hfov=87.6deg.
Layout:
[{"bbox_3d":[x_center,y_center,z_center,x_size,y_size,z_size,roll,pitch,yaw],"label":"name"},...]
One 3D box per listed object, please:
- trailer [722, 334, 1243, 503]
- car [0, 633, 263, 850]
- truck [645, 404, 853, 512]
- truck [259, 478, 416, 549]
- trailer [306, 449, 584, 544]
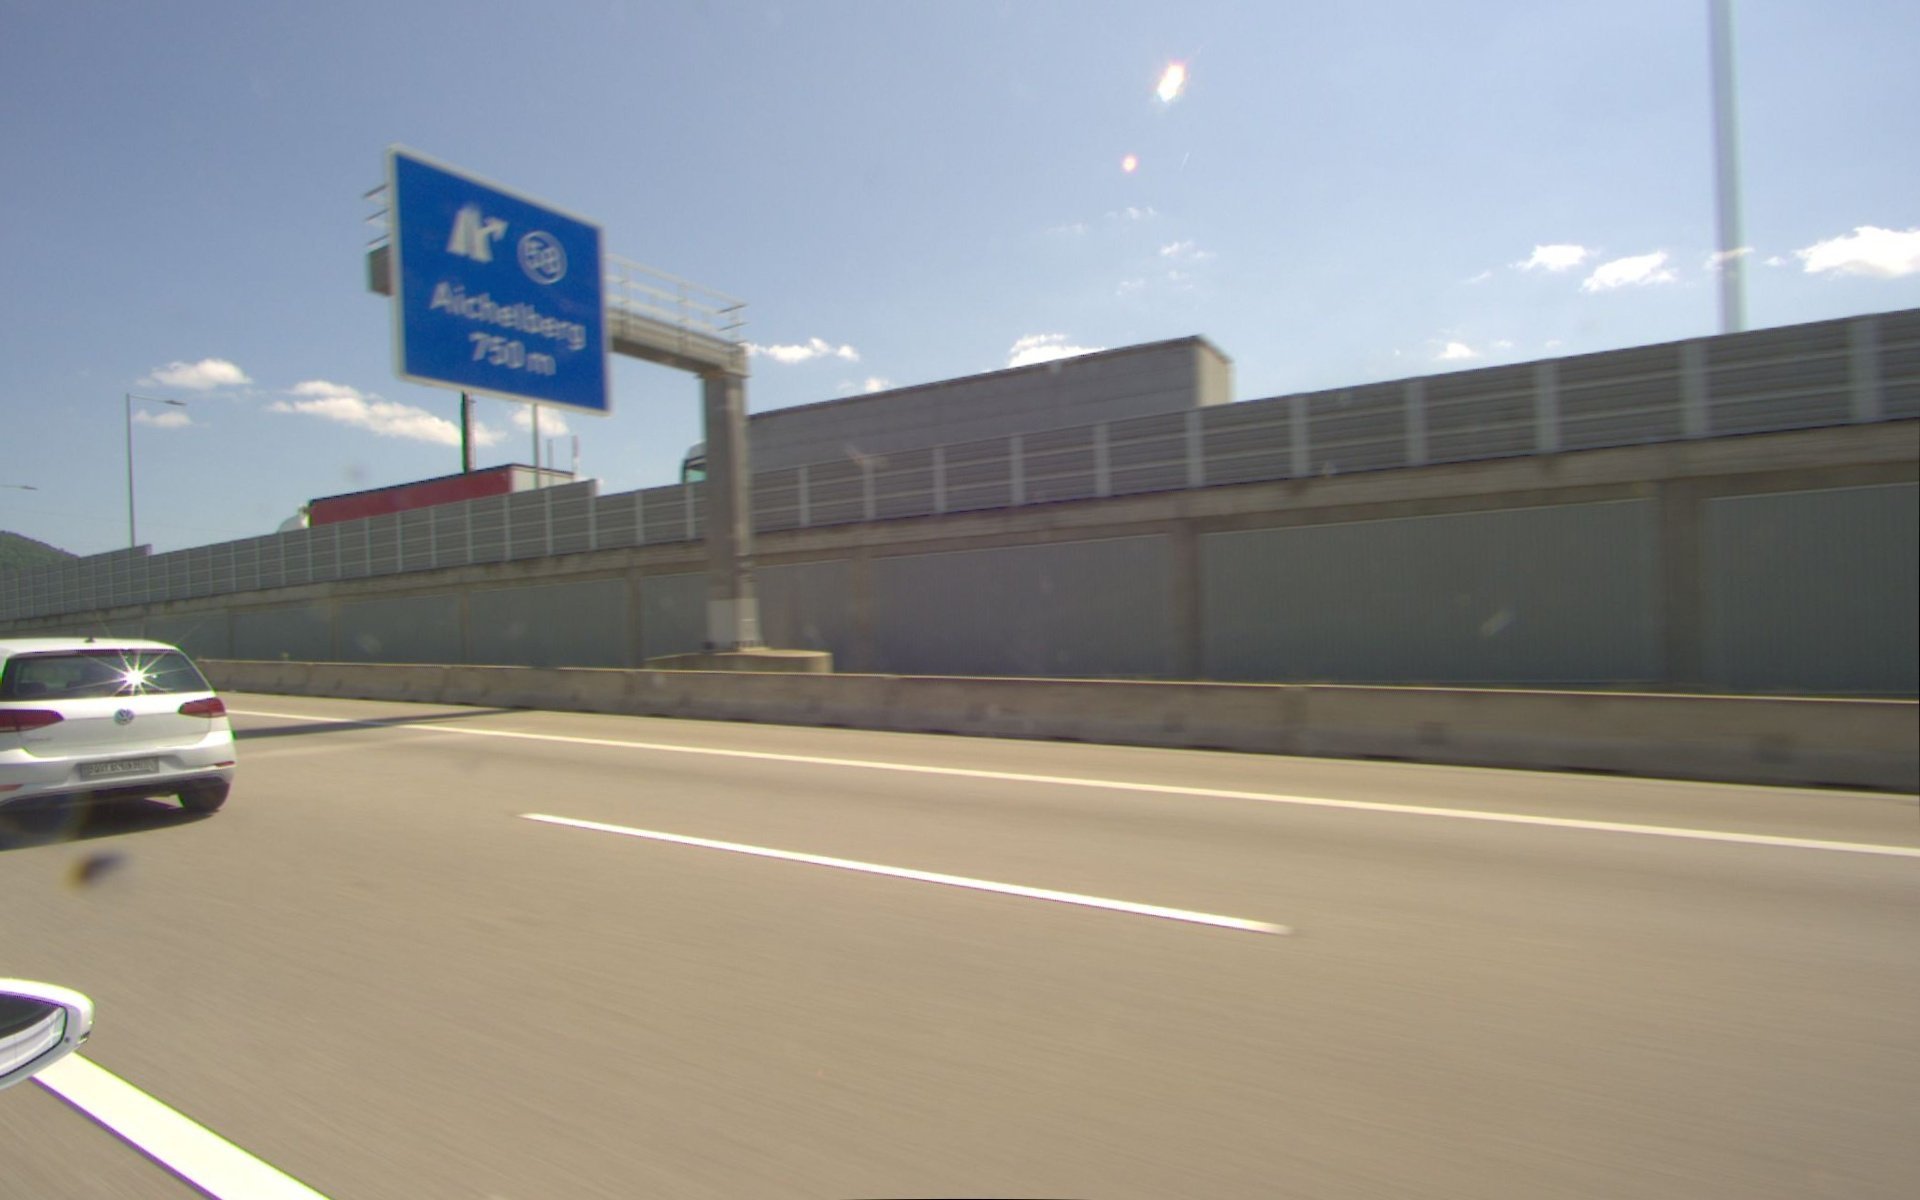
[{"bbox_3d":[-0.077,-4.373,26.399,14.317,2.252,2.716,-2,-2,31],"label":"trailer"},{"bbox_3d":[-8.039,1.035,8.561,4.625,1.451,1.773,-2,-2,32],"label":"car"},{"bbox_3d":[-6.417,-4.142,30.237,5.949,2.258,2.720,-2,-2,31],"label":"truck"},{"bbox_3d":[-26.450,-3.563,42.444,7.181,2.232,2.704,-2,-2,31],"label":"truck"},{"bbox_3d":[-20.246,-3.765,38.710,13.817,2.252,2.716,-2,-2,31],"label":"trailer"}]
